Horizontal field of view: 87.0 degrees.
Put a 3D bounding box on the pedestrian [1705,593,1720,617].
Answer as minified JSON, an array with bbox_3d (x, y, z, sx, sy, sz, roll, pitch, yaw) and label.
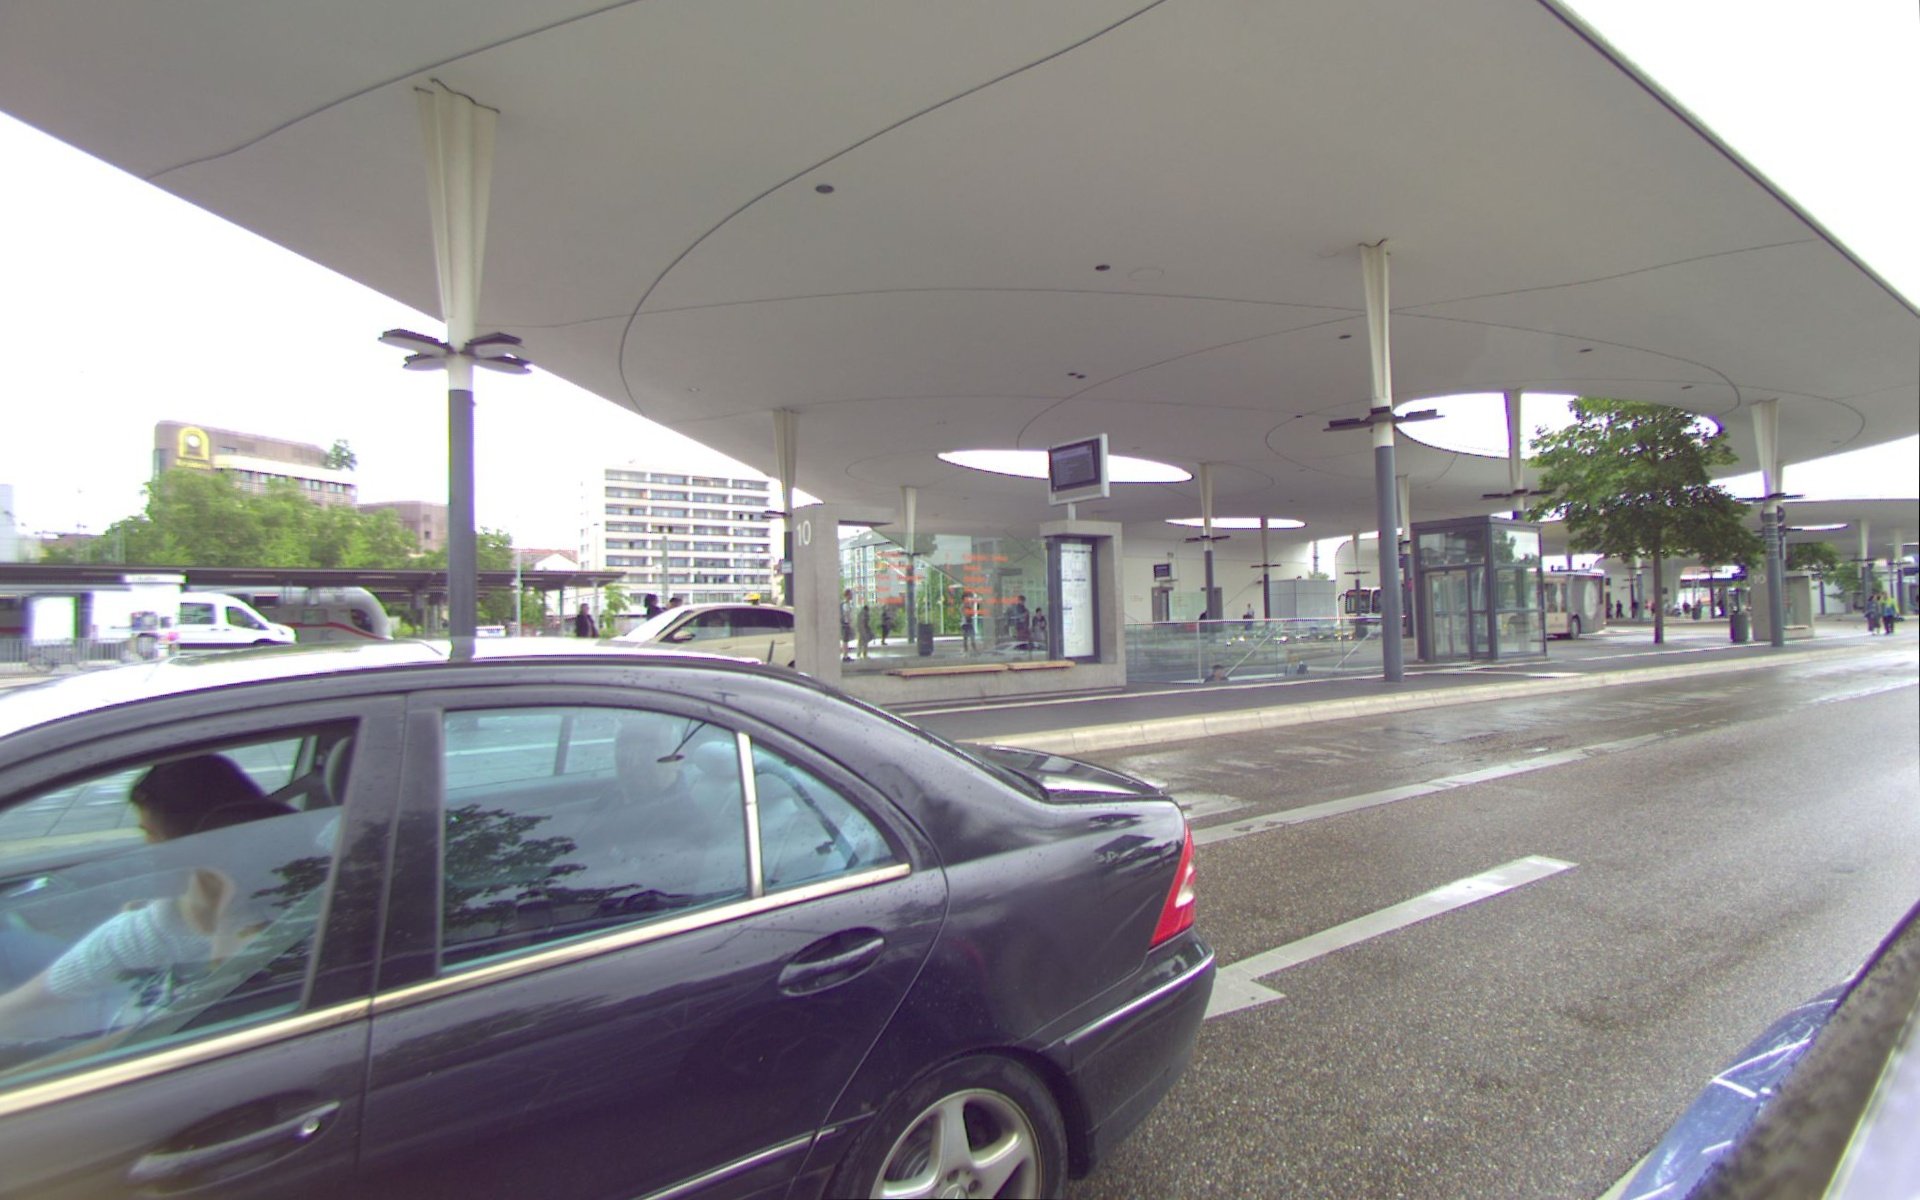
[{"bbox_3d":[65.729,0.449,88.431,1.019,2.039,0.869,0,0,36],"label":"pedestrian"}]

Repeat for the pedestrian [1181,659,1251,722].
[{"bbox_3d":[4.886,1.712,19.336,0.939,1.067,0.883,-1,1,-33],"label":"pedestrian"}]

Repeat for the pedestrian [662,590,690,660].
[{"bbox_3d":[-6.322,0.554,22.528,0.470,1.533,0.535,0,-1,-32],"label":"pedestrian"}]

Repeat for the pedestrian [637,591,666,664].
[{"bbox_3d":[-6.576,0.580,21.584,0.470,1.533,0.535,0,-1,-32],"label":"pedestrian"}]

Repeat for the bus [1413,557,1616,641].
[{"bbox_3d":[23.484,-0.112,42.424,11.700,3.121,2.877,-1,1,-37],"label":"bus"}]

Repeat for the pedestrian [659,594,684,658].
[{"bbox_3d":[-6.959,0.627,24.417,0.470,1.533,0.535,0,-1,-2],"label":"pedestrian"}]

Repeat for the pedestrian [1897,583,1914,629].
[{"bbox_3d":[37.249,0.225,39.875,0.528,1.786,0.445,0,-1,-43],"label":"pedestrian"}]

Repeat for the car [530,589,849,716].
[{"bbox_3d":[-4.193,0.696,15.997,4.457,1.702,1.999,-1,1,-37],"label":"car"}]

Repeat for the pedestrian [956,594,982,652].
[{"bbox_3d":[0.244,0.611,27.365,0.525,1.533,0.479,0,-1,-33],"label":"pedestrian"}]

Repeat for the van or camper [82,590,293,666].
[{"bbox_3d":[-27.024,0.901,35.669,5.755,2.464,1.999,-1,1,-37],"label":"van or camper"}]

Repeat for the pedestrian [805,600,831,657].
[{"bbox_3d":[-3.901,0.773,27.814,0.555,1.533,0.479,0,-1,-33],"label":"pedestrian"}]

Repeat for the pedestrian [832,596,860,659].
[{"bbox_3d":[-2.825,0.659,25.005,0.525,1.533,0.479,0,-1,-33],"label":"pedestrian"}]

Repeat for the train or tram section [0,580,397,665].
[{"bbox_3d":[-46.851,1.070,54.274,28.765,4.234,4.604,-1,1,-37],"label":"train or tram section"}]

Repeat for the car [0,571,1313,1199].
[{"bbox_3d":[-1.334,0.699,1.971,4.370,1.484,1.699,-1,1,-37],"label":"car"}]

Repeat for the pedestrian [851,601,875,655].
[{"bbox_3d":[-2.780,0.784,28.964,0.515,1.533,0.479,0,-1,-33],"label":"pedestrian"}]

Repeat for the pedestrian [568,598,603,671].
[{"bbox_3d":[-8.492,0.757,22.924,0.725,1.615,0.643,0,0,-22],"label":"pedestrian"}]

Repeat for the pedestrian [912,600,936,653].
[{"bbox_3d":[-1.052,0.757,29.506,0.515,1.533,0.479,0,-1,-33],"label":"pedestrian"}]

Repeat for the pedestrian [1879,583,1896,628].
[{"bbox_3d":[36.923,0.221,40.274,0.528,1.786,0.444,0,-1,-43],"label":"pedestrian"}]

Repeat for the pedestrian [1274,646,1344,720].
[{"bbox_3d":[6.667,1.555,19.340,0.939,1.291,0.883,0,0,-33],"label":"pedestrian"}]
